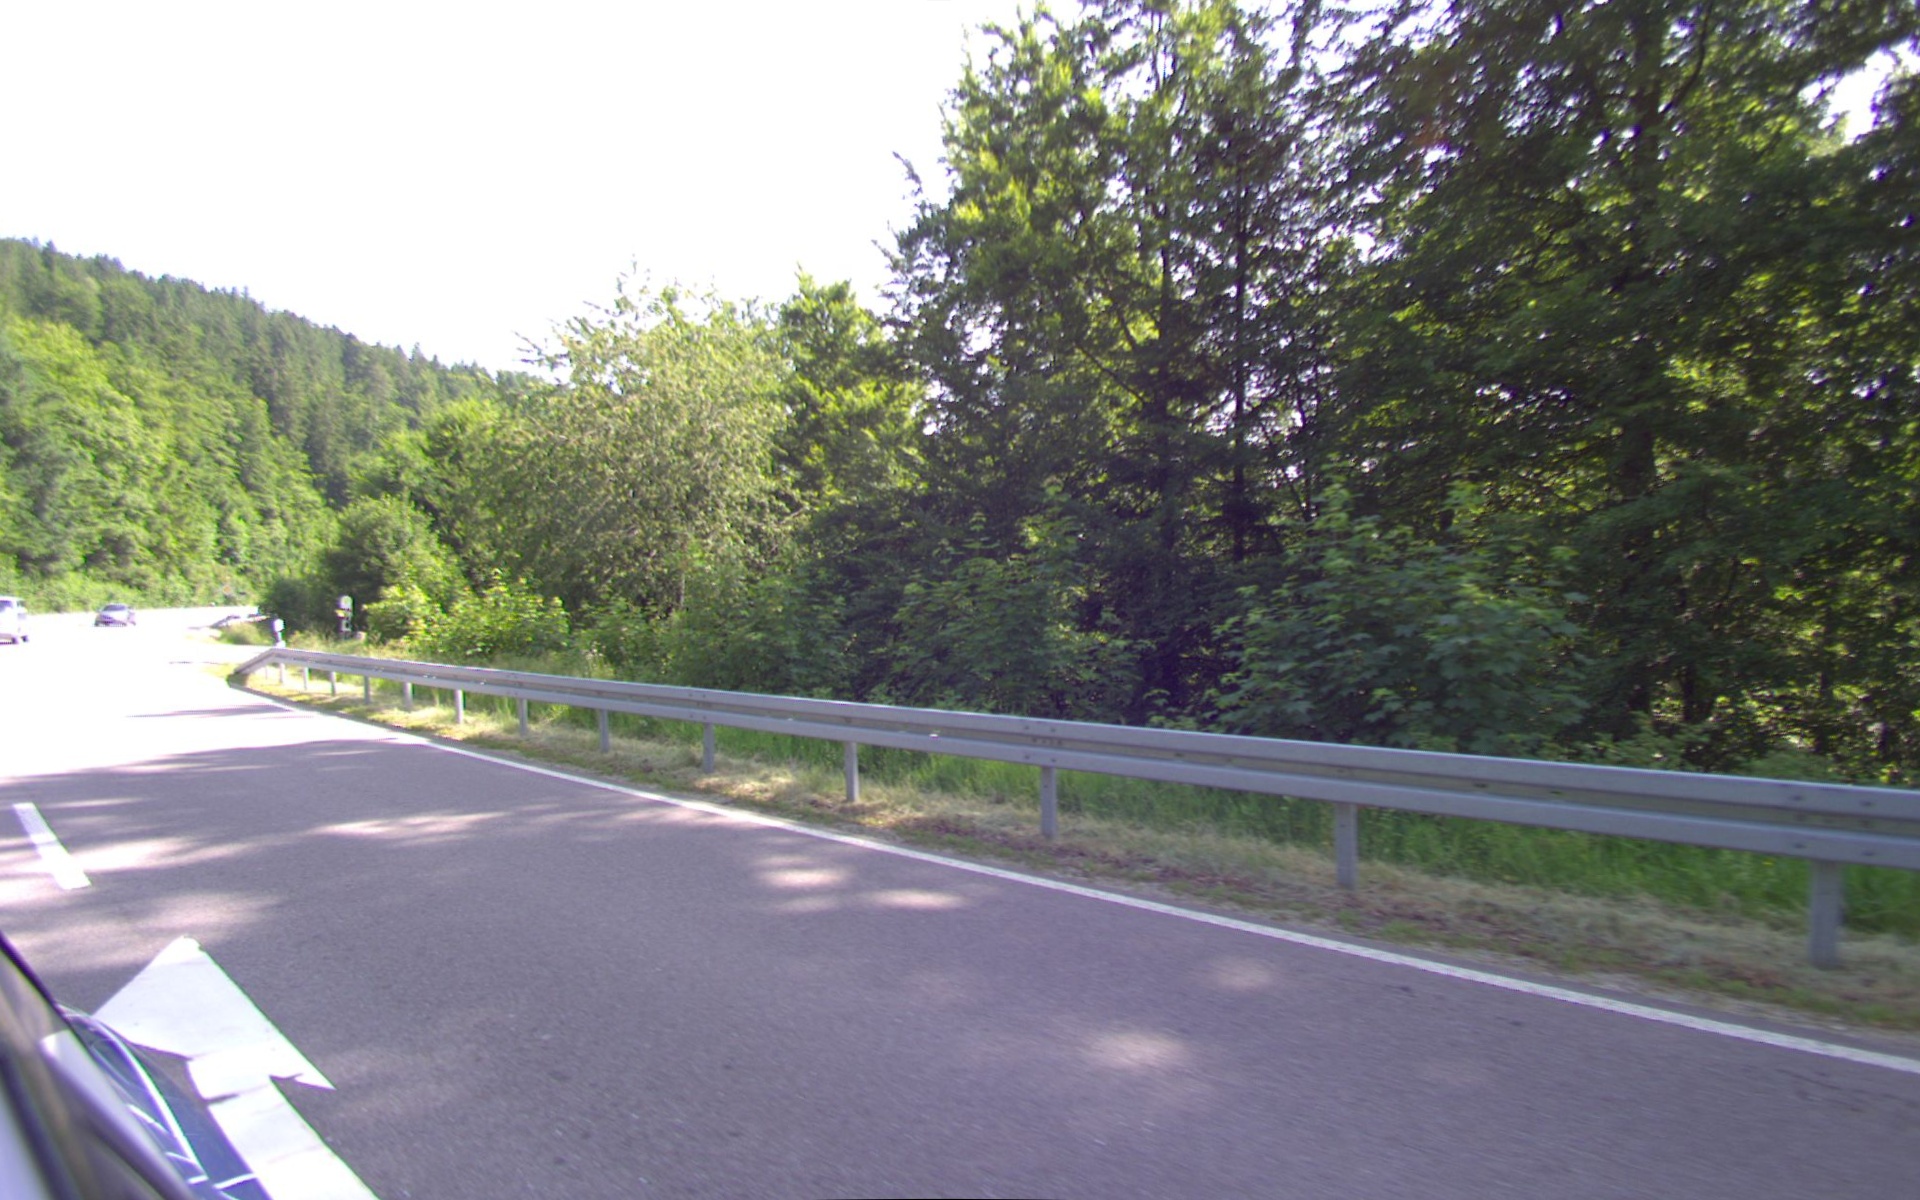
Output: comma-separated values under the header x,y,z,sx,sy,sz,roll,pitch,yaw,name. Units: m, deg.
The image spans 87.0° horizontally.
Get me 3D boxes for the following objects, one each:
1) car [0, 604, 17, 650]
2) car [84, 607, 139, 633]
x,y,z,sx,sy,sz,roll,pitch,yaw,name
-39.037,1.040,40.536,1.628,1.773,3.800,1,-1,-40,car
-55.941,1.303,66.775,1.965,1.655,4.013,-1,0,-28,car
